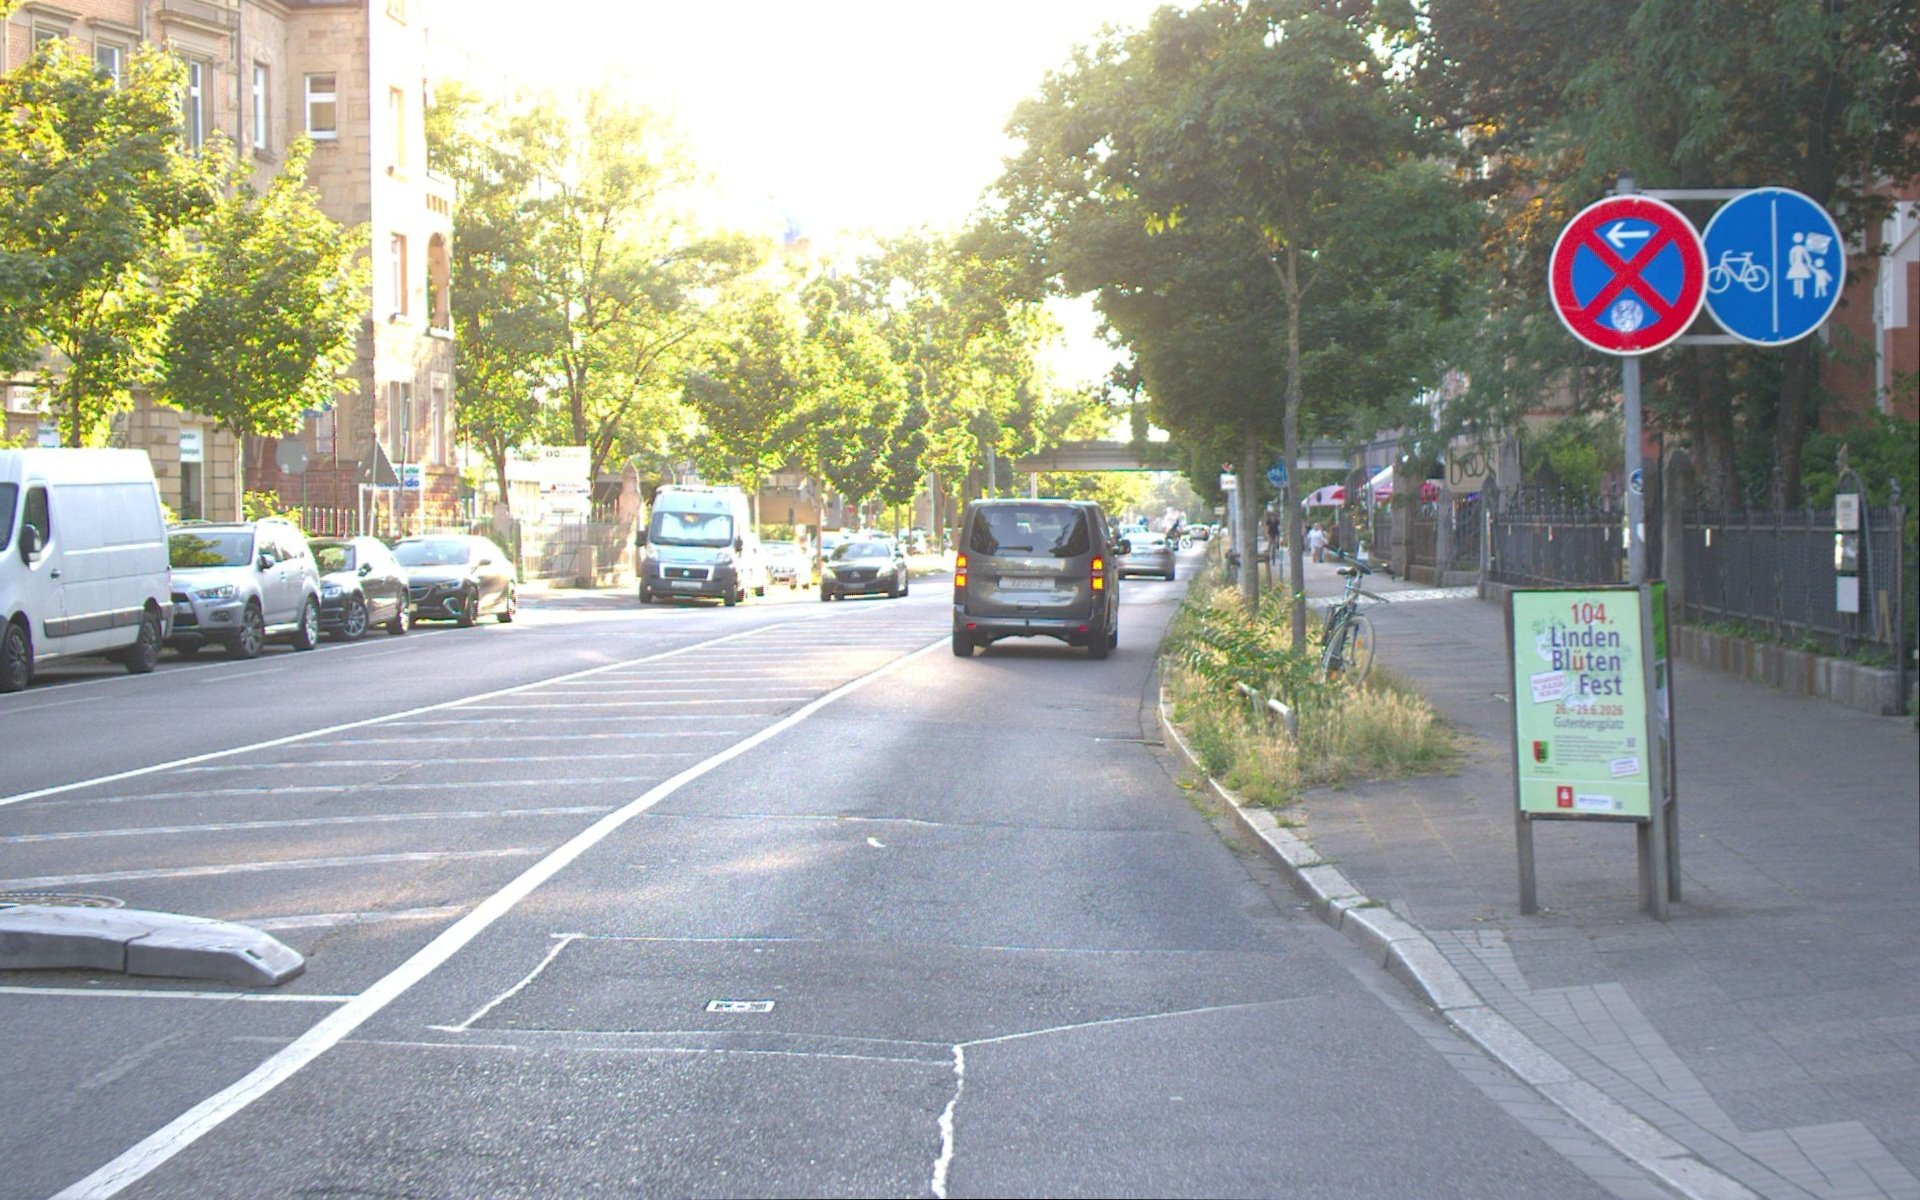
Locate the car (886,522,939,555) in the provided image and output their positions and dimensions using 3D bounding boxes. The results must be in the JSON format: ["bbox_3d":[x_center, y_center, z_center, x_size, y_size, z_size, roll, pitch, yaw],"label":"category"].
[{"bbox_3d":[-2.158,-2.790,156.246,1.994,1.409,4.236,1,2,4],"label":"car"}]

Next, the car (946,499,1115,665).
[{"bbox_3d":[0.913,-0.267,42.099,1.887,1.918,3.839,-1,2,4],"label":"car"}]

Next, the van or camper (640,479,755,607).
[{"bbox_3d":[-5.710,-1.289,75.524,1.993,2.659,6.039,1,2,0],"label":"van or camper"}]

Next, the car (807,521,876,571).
[{"bbox_3d":[-3.598,-1.657,104.702,1.697,1.446,4.000,1,2,3],"label":"car"}]

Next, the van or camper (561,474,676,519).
[{"bbox_3d":[-20.663,-6.257,208.270,6.563,2.513,2.449,1,1,3],"label":"van or camper"}]

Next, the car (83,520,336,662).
[{"bbox_3d":[-9.309,-0.160,43.007,1.866,1.639,4.571,-1,1,4],"label":"car"}]

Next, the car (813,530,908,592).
[{"bbox_3d":[-2.342,-0.950,82.053,1.766,1.397,4.544,-1,1,4],"label":"car"}]

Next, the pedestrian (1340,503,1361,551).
[{"bbox_3d":[13.273,-2.488,116.956,0.644,1.627,0.656,1,1,5],"label":"pedestrian"}]

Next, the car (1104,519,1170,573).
[{"bbox_3d":[5.559,-1.713,107.995,1.994,1.628,4.000,0,2,3],"label":"car"}]

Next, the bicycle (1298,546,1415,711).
[{"bbox_3d":[2.985,0.192,26.016,0.646,1.163,1.931,1,2,0],"label":"bicycle"}]

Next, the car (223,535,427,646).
[{"bbox_3d":[-8.909,-0.171,48.606,1.736,1.440,4.625,0,2,4],"label":"car"}]

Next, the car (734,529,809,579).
[{"bbox_3d":[-4.911,-1.215,89.758,1.536,1.244,3.614,1,2,3],"label":"car"}]

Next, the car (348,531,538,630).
[{"bbox_3d":[-8.206,-0.349,54.979,1.994,1.478,4.829,0,1,4],"label":"car"}]

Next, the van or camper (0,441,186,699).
[{"bbox_3d":[-10.027,-0.352,35.812,2.091,2.460,6.305,-1,2,3],"label":"van or camper"}]
